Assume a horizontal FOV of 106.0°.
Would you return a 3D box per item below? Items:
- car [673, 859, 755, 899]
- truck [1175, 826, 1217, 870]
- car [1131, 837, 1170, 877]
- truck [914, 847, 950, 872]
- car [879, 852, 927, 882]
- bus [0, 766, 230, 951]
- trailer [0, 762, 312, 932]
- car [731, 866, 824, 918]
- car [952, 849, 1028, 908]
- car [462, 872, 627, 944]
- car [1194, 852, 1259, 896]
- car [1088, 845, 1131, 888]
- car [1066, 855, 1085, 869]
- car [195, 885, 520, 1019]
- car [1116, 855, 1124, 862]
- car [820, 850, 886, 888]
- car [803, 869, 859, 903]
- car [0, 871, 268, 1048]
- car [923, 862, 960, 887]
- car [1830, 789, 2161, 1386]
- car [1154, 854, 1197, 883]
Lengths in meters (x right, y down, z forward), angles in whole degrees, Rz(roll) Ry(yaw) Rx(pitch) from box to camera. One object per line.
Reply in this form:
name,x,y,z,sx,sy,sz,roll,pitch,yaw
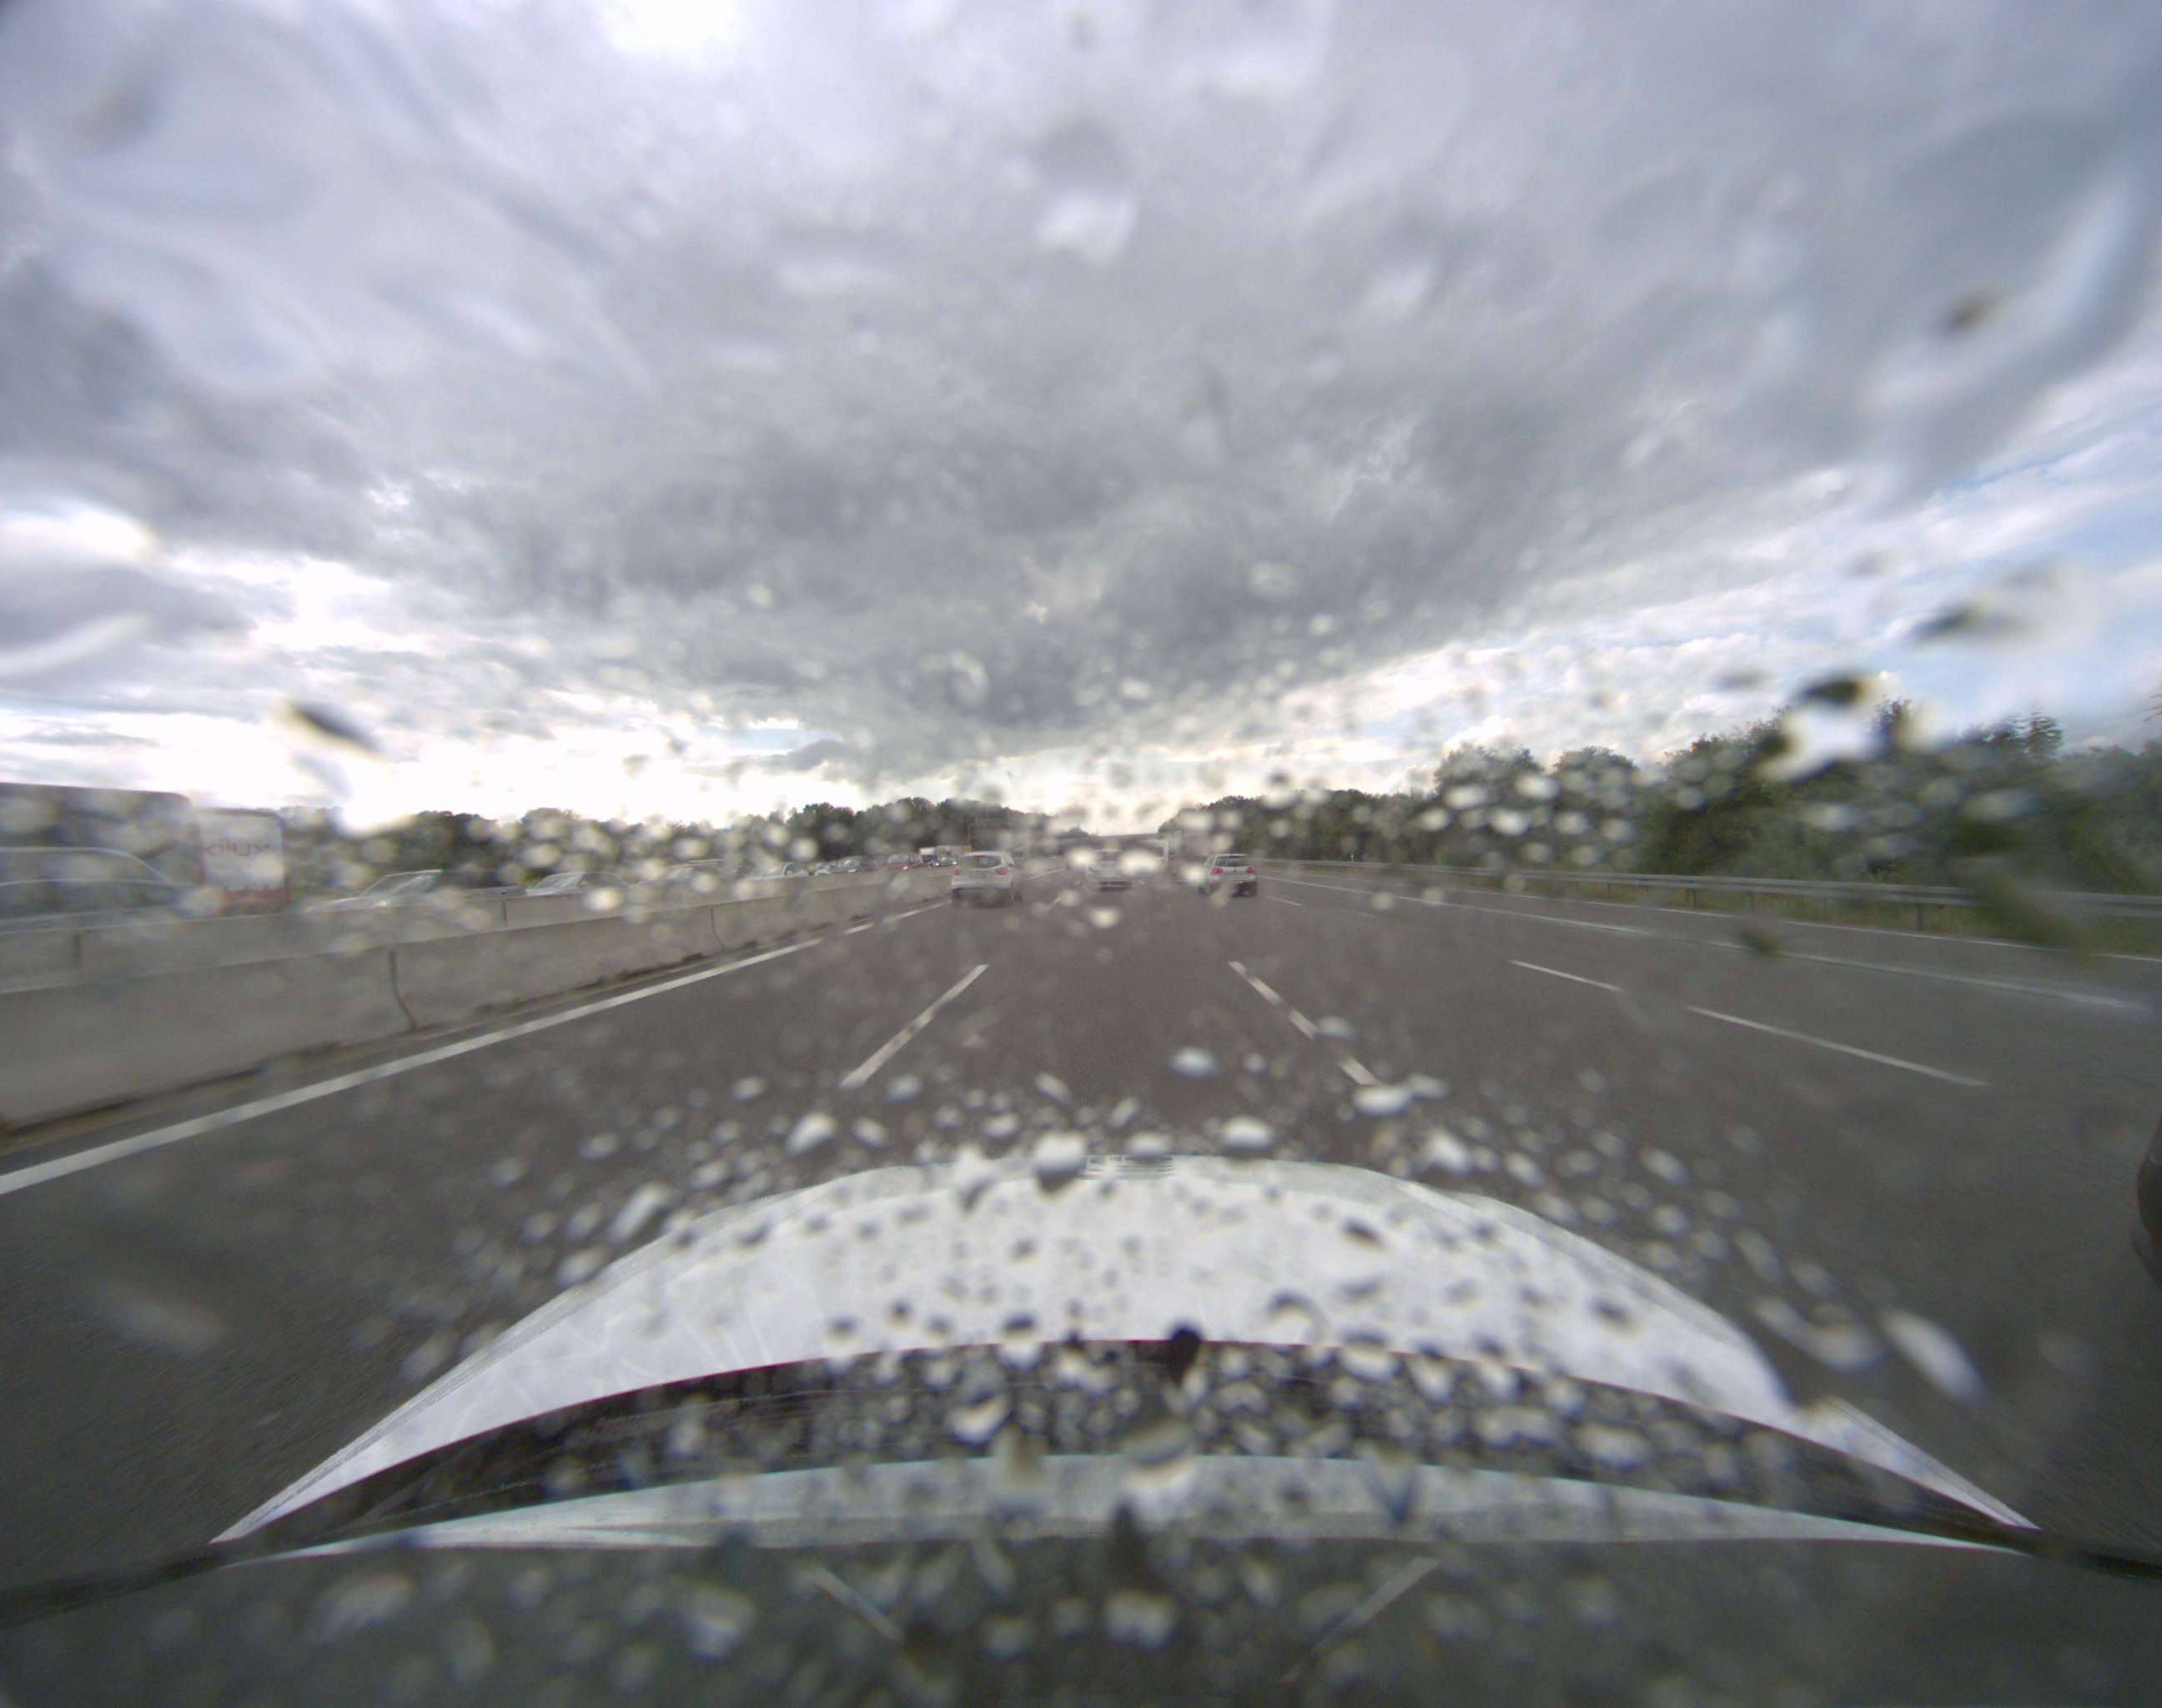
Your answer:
car,-20.101,1.335,44.881,1.984,2.013,4.832,-1,0,4
truck,10.580,-0.510,75.671,3.119,3.709,9.858,-1,0,4
car,5.363,0.260,63.780,2.557,2.895,7.536,-1,0,2
truck,-20.984,0.770,115.198,2.898,3.290,9.207,-1,0,2
car,-12.540,0.885,57.592,1.986,2.013,5.421,-1,0,2
bus,-21.243,0.101,11.801,2.677,3.385,14.005,-1,0,2
trailer,-25.214,-0.105,20.424,2.849,3.762,9.165,-2,0,2
car,-13.148,1.569,35.653,1.986,2.013,4.974,-1,0,2
car,-2.805,0.707,26.097,1.809,1.689,4.852,-2,0,0
car,-16.874,1.614,25.958,1.986,1.967,4.698,-1,0,2
car,5.285,0.682,29.945,1.788,1.477,4.039,-1,0,2
car,1.236,0.524,35.606,1.774,1.716,4.354,-1,0,2
car,-0.583,0.814,86.290,1.773,1.481,4.356,-1,0,3
car,-13.617,1.712,15.839,1.986,2.013,4.698,-1,0,2
car,9.831,1.054,205.158,1.875,1.686,3.999,-1,0,0
car,-12.801,0.809,46.019,1.986,2.013,5.421,-1,0,2
car,-16.307,2.017,53.410,1.986,2.013,4.974,-1,0,2
car,-13.348,1.258,9.951,1.986,1.967,4.698,-1,0,2
car,-11.330,1.649,66.356,1.985,1.904,4.506,-1,0,3
car,3.768,0.613,0.856,1.774,1.613,4.598,-1,0,1
car,4.932,0.720,42.815,1.878,1.407,4.284,-1,0,2
